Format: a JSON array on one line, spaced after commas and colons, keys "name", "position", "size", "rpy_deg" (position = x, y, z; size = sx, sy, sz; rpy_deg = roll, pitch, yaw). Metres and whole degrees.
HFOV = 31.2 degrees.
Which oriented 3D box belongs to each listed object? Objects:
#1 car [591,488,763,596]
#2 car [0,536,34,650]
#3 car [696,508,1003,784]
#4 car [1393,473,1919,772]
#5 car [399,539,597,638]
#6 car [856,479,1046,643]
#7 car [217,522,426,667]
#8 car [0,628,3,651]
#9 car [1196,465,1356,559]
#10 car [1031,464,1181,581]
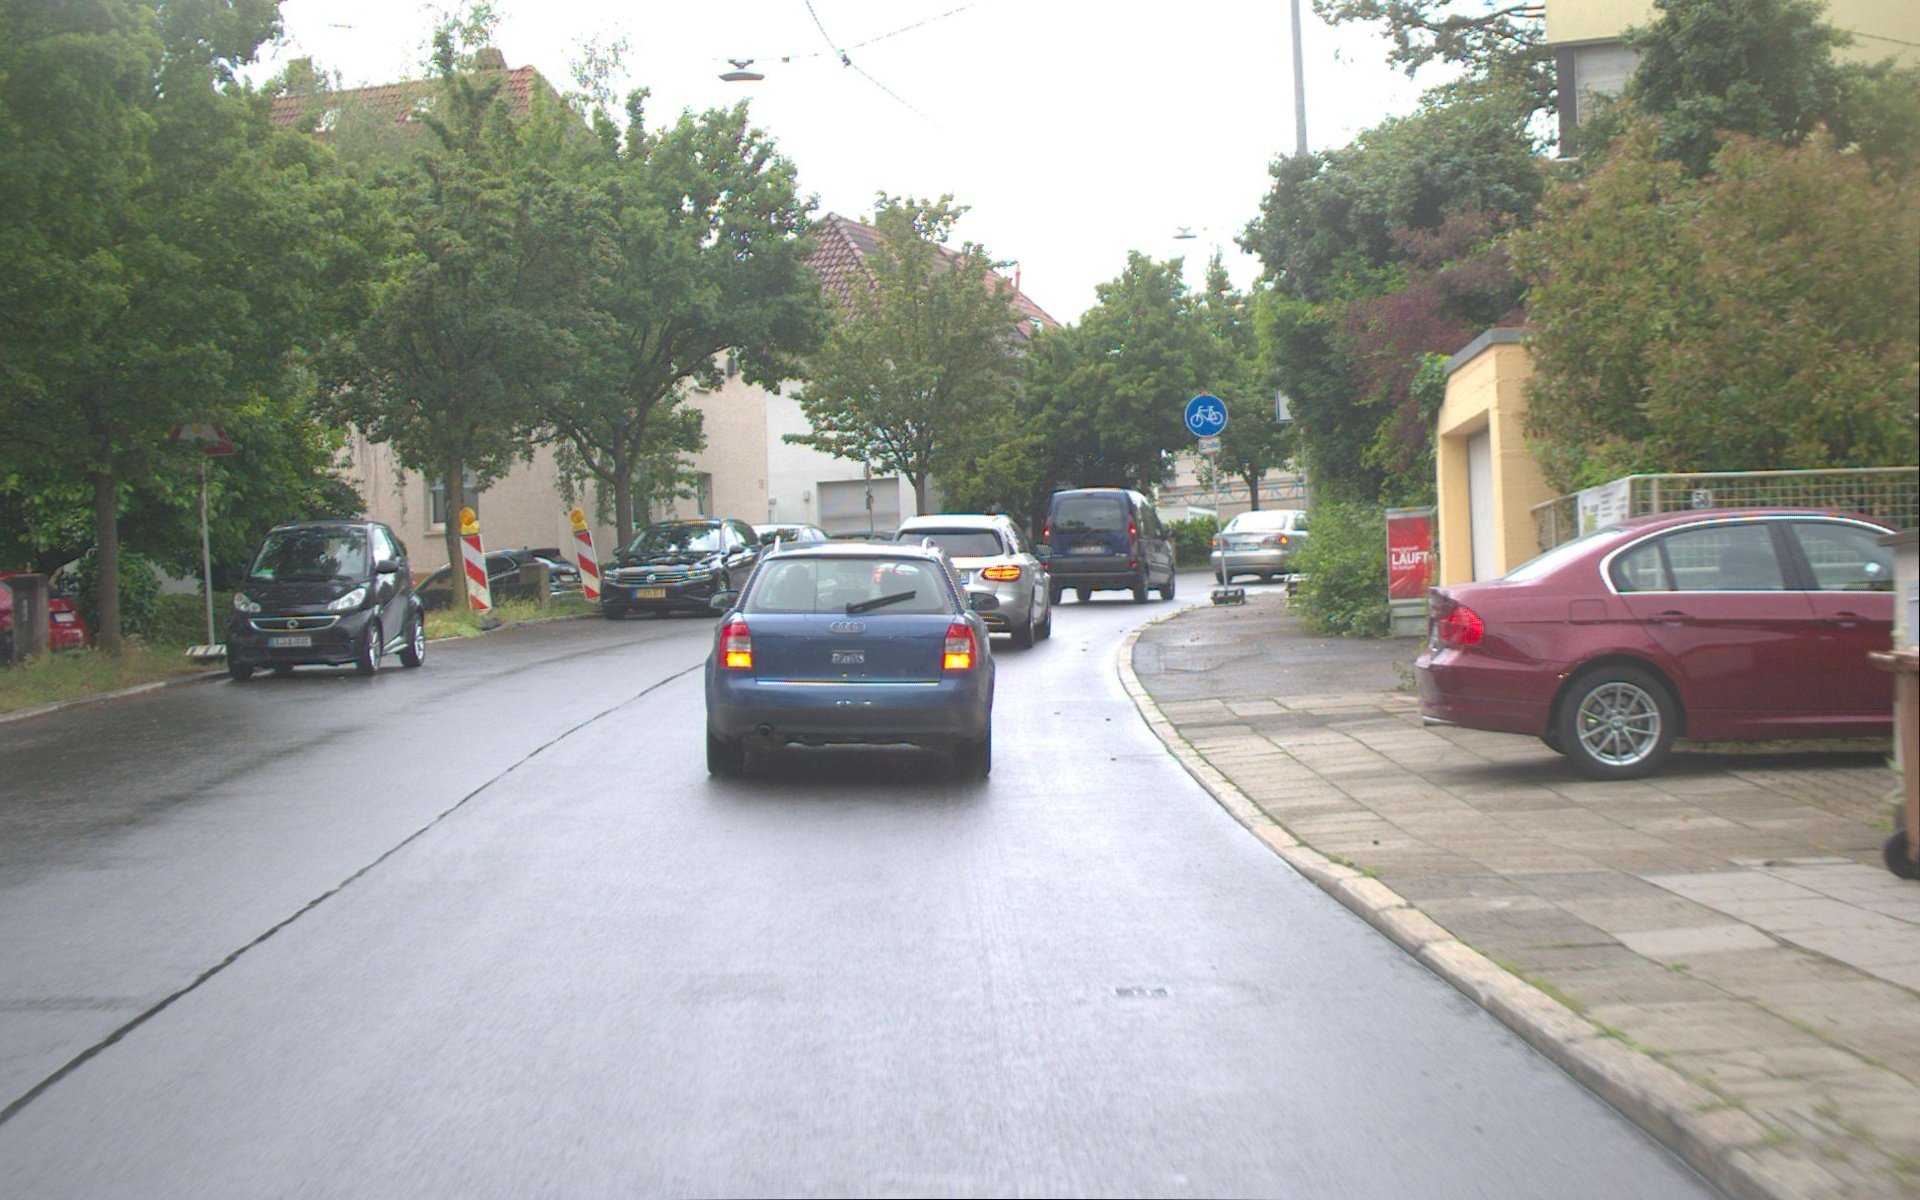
[{"name": "car", "position": [-4.229, -0.913, 51.994], "size": [1.734, 1.461, 3.999], "rpy_deg": [2, 3, 8]}, {"name": "car", "position": [-13.435, 0.119, 42.882], "size": [3.210, 1.367, 1.480], "rpy_deg": [-8, 3, 0]}, {"name": "car", "position": [-0.695, 0.217, 21.876], "size": [1.733, 1.461, 4.001], "rpy_deg": [2, 3, -2]}, {"name": "car", "position": [4.505, 0.072, 19.100], "size": [3.987, 1.461, 1.739], "rpy_deg": [-2, 2, 3]}, {"name": "car", "position": [-8.682, -0.221, 64.705], "size": [3.212, 1.367, 1.479], "rpy_deg": [-7, 3, 15]}, {"name": "car", "position": [-0.080, -0.487, 38.641], "size": [1.975, 1.629, 4.236], "rpy_deg": [2, 3, 0]}, {"name": "car", "position": [-6.488, -0.092, 35.175], "size": [1.475, 1.291, 3.221], "rpy_deg": [2, 3, 1]}, {"name": "car", "position": [-13.246, 0.149, 40.813], "size": [3.210, 1.367, 1.480], "rpy_deg": [-7, 3, 0]}, {"name": "car", "position": [6.334, -1.768, 68.530], "size": [1.736, 1.762, 4.229], "rpy_deg": [3, 3, 26]}, {"name": "car", "position": [2.413, -1.298, 56.010], "size": [1.734, 1.762, 4.233], "rpy_deg": [2, 3, 12]}]
